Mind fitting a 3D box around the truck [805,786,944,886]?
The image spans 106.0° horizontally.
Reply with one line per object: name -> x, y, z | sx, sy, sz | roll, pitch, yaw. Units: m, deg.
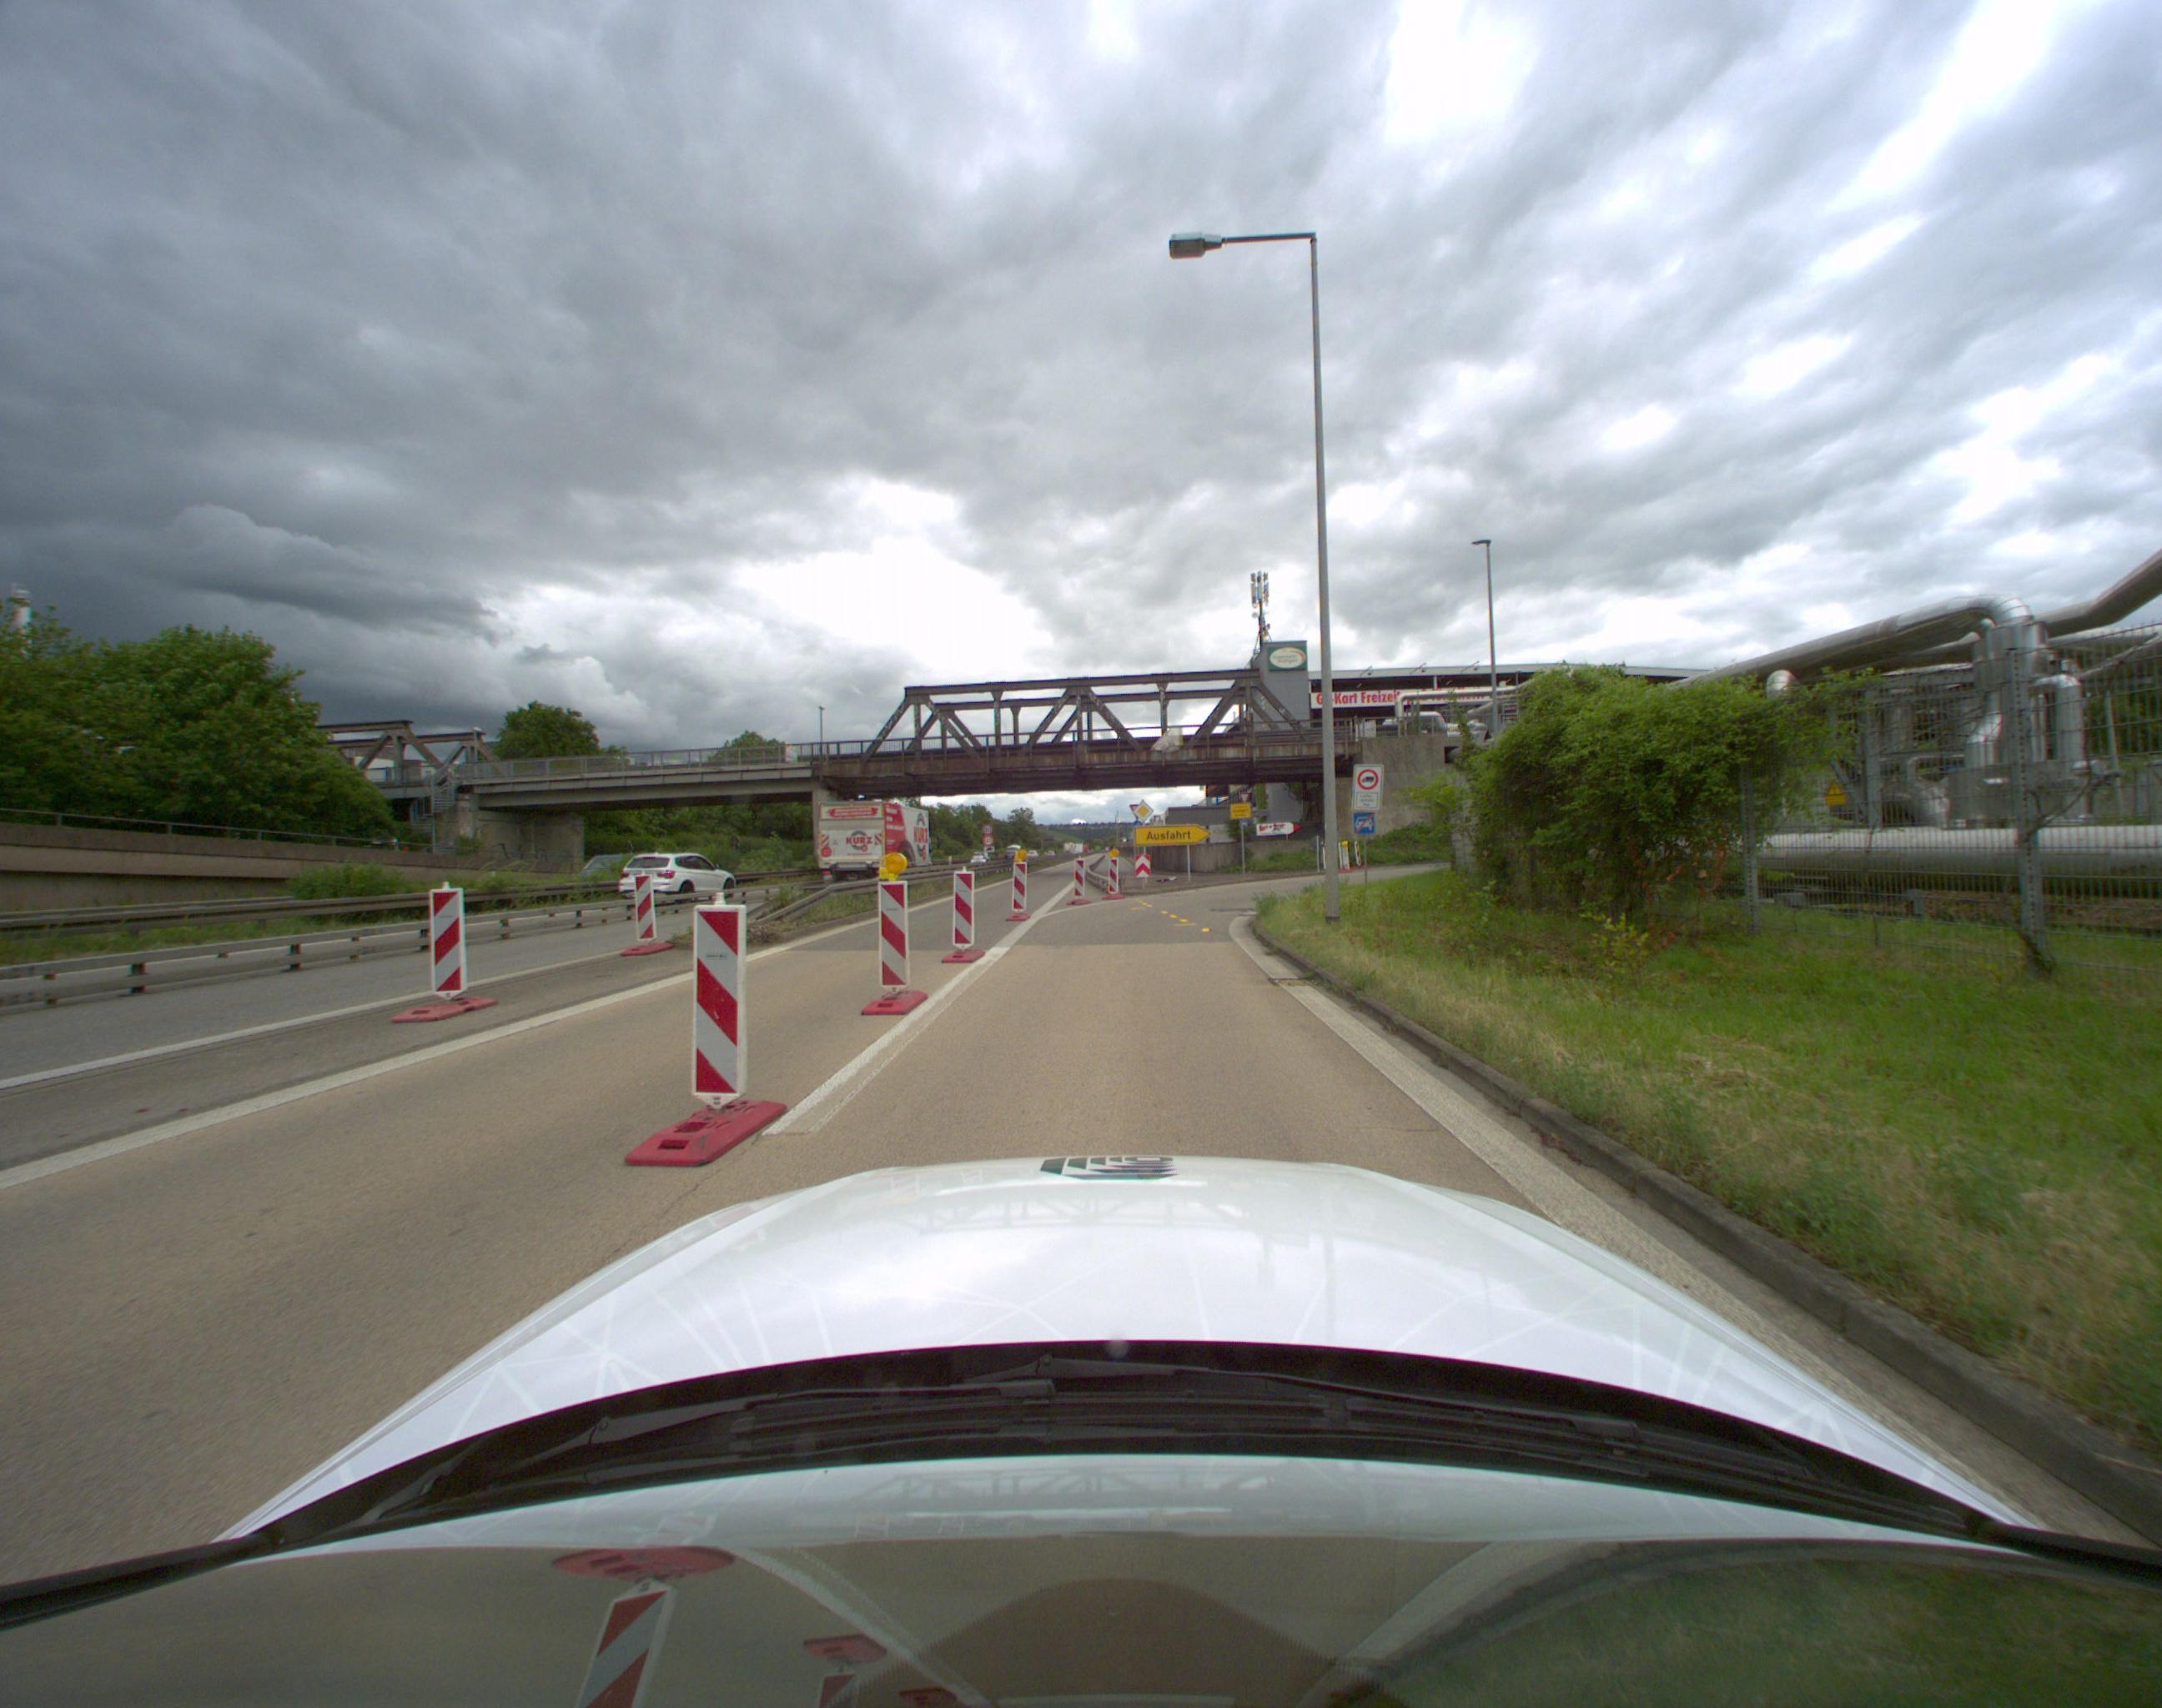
truck -> -8.562, -0.630, 35.410 | 2.941, 3.629, 10.160 | -1, -1, 2

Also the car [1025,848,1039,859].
car -> -8.267, -0.091, 138.212 | 1.987, 1.816, 4.000 | -1, 0, 0

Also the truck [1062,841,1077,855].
truck -> -3.125, -1.699, 226.607 | 3.705, 3.645, 7.733 | -1, 0, 3

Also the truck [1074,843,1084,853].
truck -> -0.687, -1.793, 245.809 | 2.670, 3.140, 6.136 | -1, 0, 3

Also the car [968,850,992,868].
car -> -10.602, 0.533, 85.657 | 1.987, 1.759, 4.000 | -2, 0, 0

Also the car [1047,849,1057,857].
car -> -6.353, -0.205, 178.182 | 1.772, 1.596, 3.752 | -1, 0, 3

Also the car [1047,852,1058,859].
car -> -6.306, 0.363, 181.979 | 1.966, 1.414, 4.601 | -2, 0, 2

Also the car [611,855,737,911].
car -> -13.040, 0.857, 26.422 | 1.847, 1.640, 4.292 | -1, 0, 1

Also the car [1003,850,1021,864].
car -> -9.430, 0.453, 111.110 | 1.986, 1.759, 4.001 | -2, 0, 1
